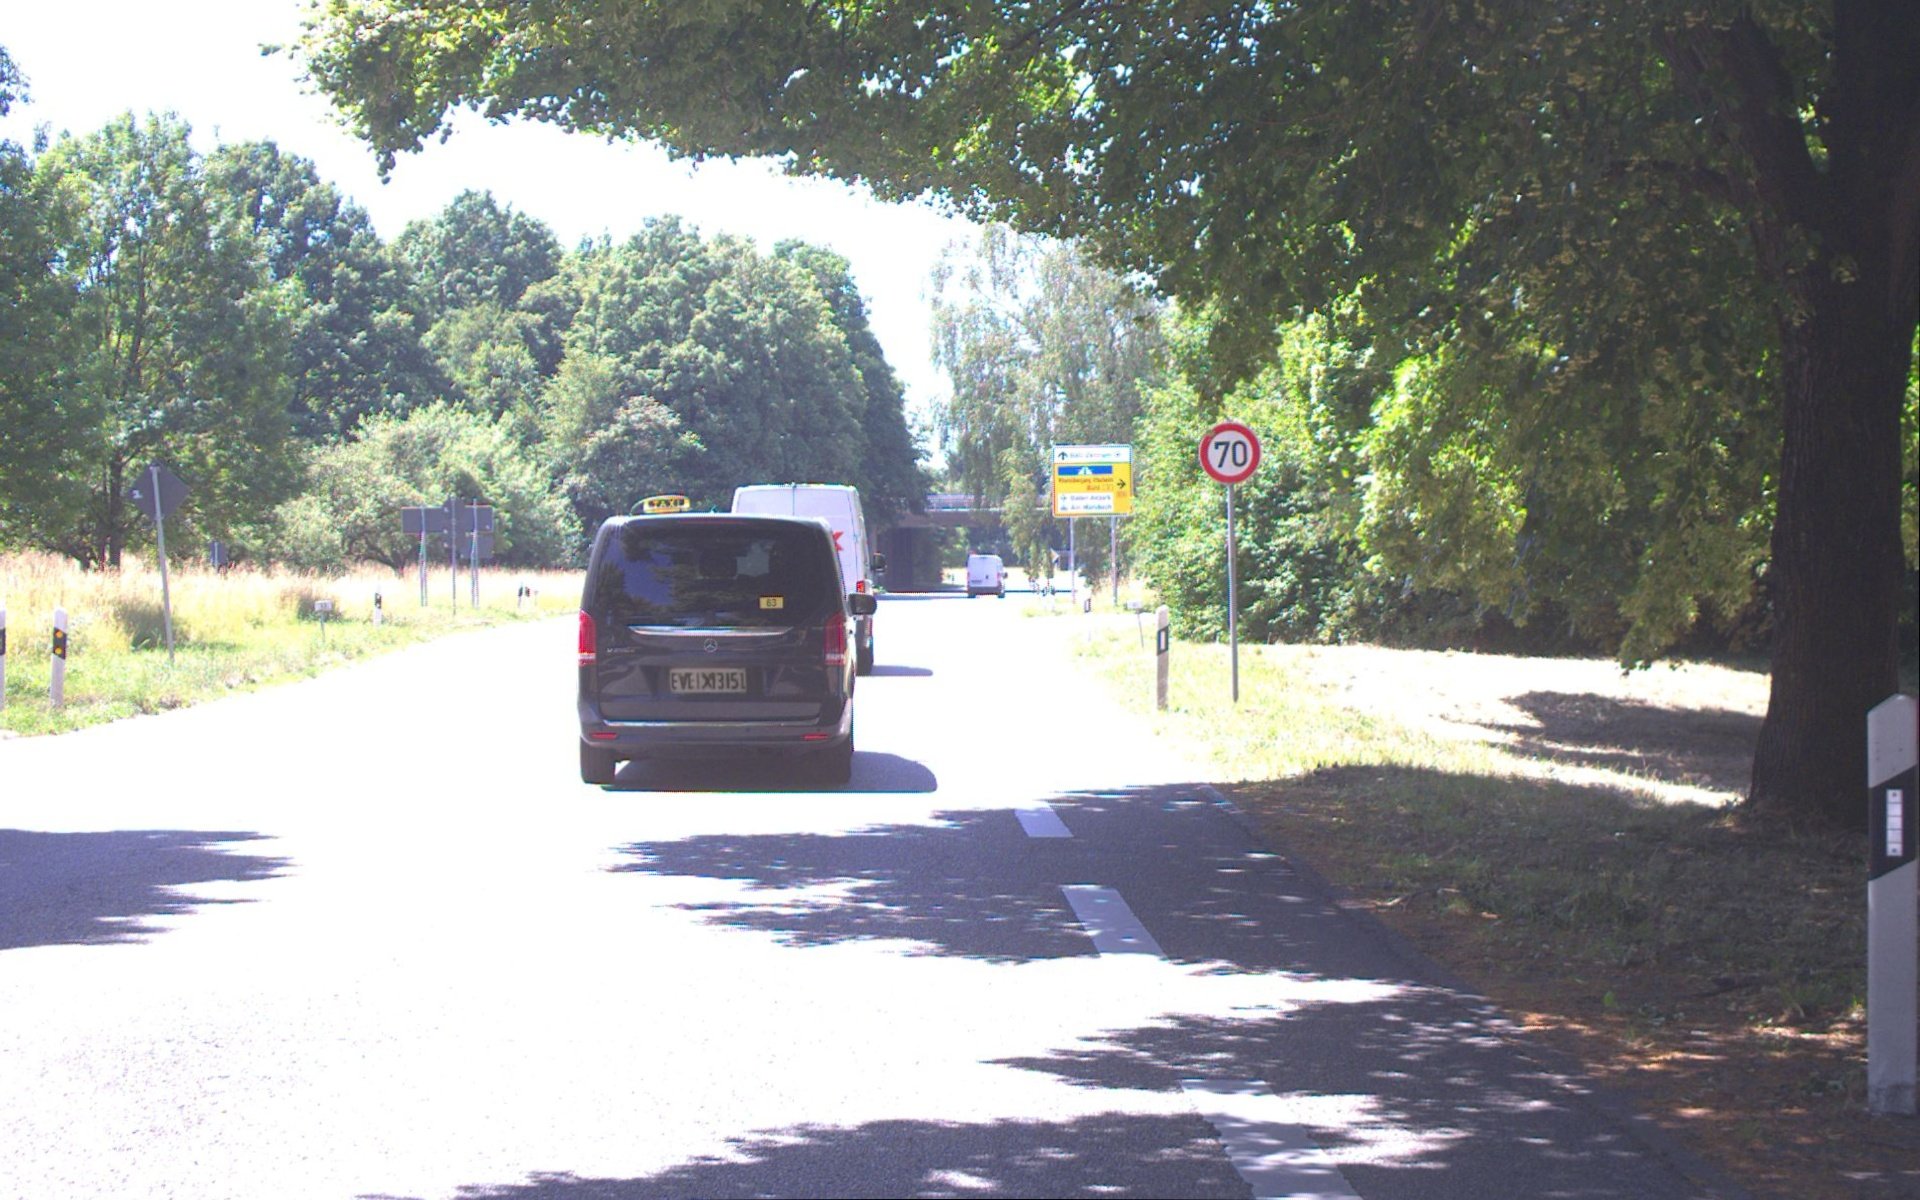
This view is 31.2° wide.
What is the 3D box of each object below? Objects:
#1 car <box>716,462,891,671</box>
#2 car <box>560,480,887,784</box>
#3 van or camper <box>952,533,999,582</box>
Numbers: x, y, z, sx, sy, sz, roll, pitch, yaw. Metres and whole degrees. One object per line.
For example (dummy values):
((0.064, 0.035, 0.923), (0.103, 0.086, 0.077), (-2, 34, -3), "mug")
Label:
((-2.117, -0.459, 47.758), (2.078, 2.693, 4.666), (2, 0, 1), "car")
((-1.612, 0.195, 25.140), (1.993, 1.946, 5.005), (2, 0, 0), "car")
((0.908, -2.557, 208.012), (2.631, 2.919, 5.207), (1, 0, -2), "van or camper")
